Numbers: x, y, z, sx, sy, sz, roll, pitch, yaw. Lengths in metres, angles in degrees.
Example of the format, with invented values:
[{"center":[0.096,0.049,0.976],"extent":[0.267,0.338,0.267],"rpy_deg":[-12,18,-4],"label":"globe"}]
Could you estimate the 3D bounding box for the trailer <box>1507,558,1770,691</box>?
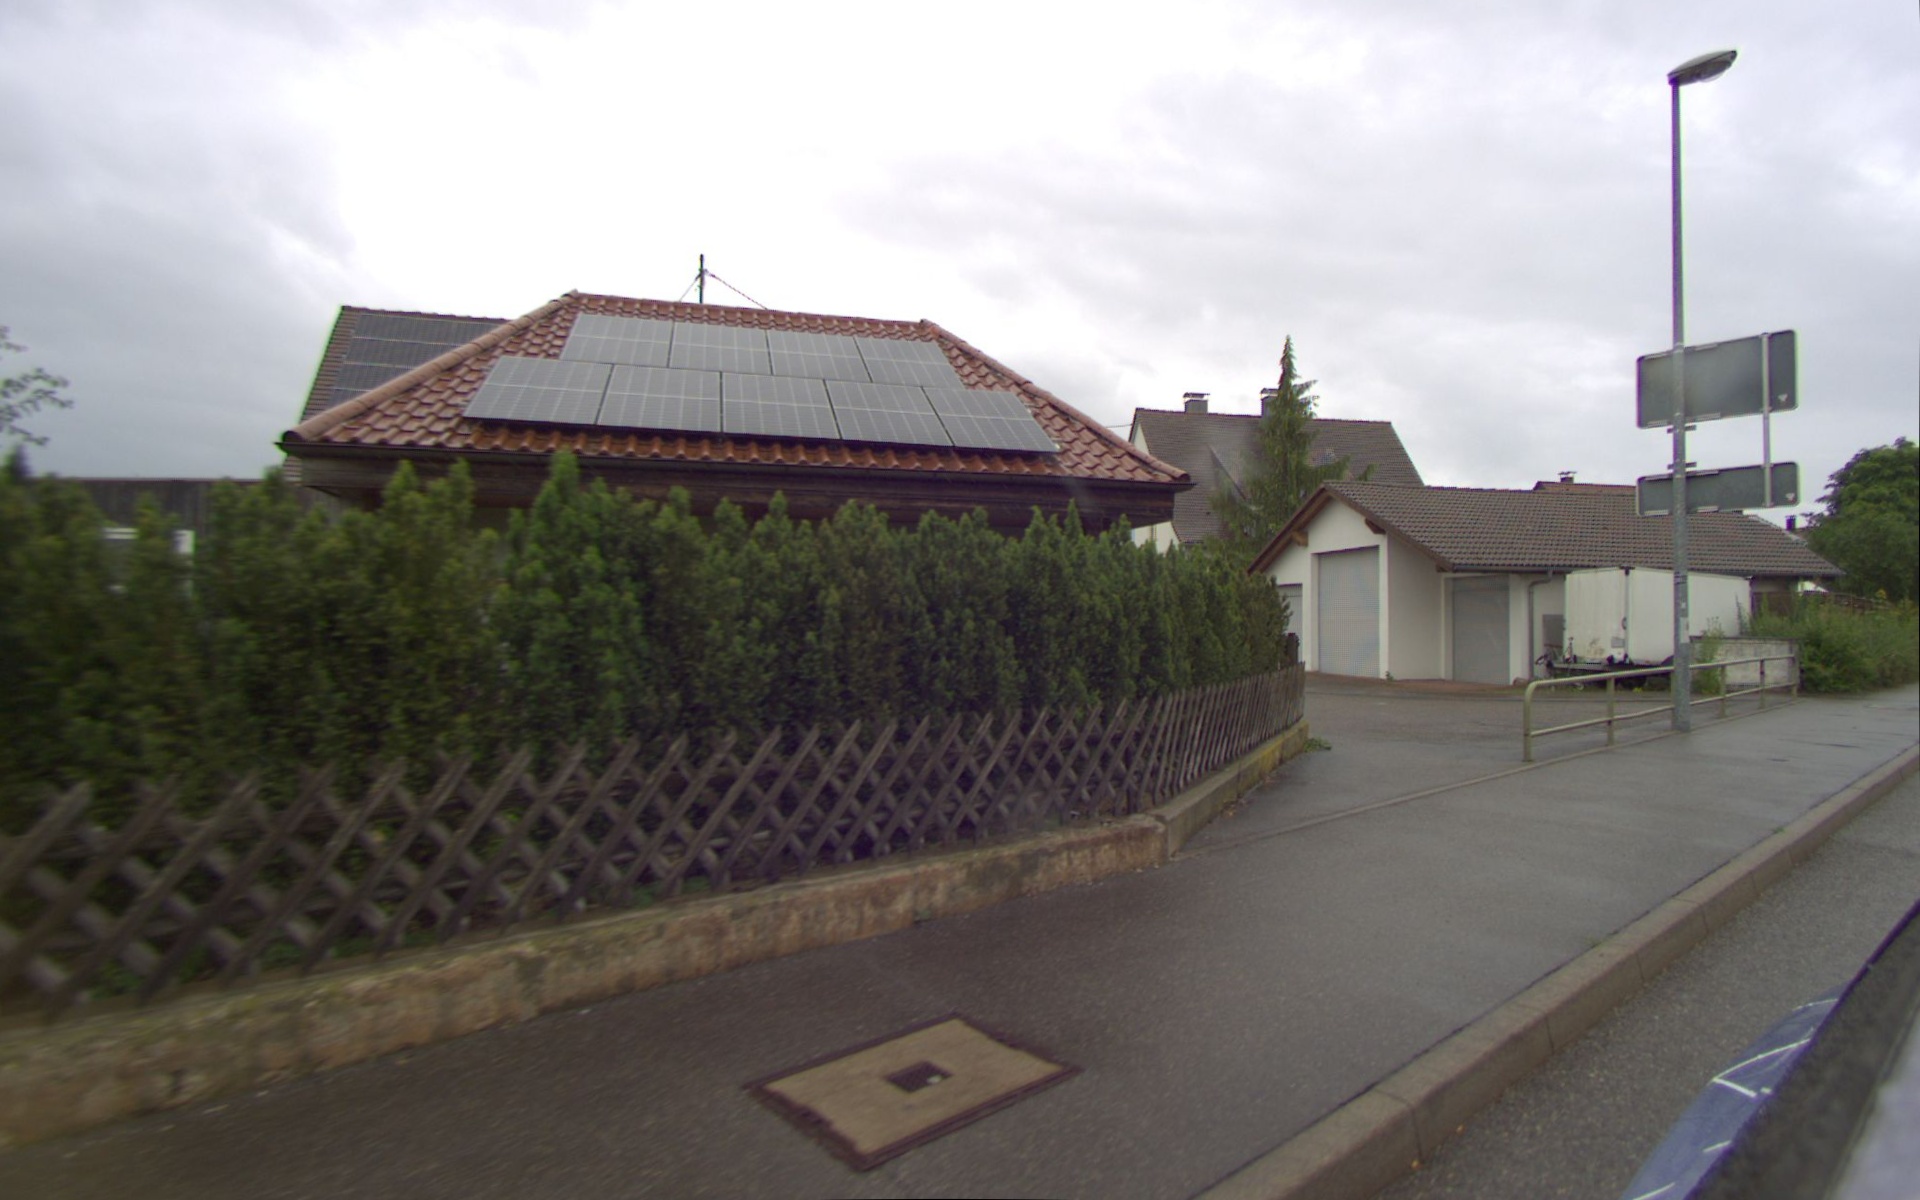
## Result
[{"center":[13.812,0.484,20.669],"extent":[4.605,2.550,1.652],"rpy_deg":[0,-1,-12],"label":"trailer"}]
